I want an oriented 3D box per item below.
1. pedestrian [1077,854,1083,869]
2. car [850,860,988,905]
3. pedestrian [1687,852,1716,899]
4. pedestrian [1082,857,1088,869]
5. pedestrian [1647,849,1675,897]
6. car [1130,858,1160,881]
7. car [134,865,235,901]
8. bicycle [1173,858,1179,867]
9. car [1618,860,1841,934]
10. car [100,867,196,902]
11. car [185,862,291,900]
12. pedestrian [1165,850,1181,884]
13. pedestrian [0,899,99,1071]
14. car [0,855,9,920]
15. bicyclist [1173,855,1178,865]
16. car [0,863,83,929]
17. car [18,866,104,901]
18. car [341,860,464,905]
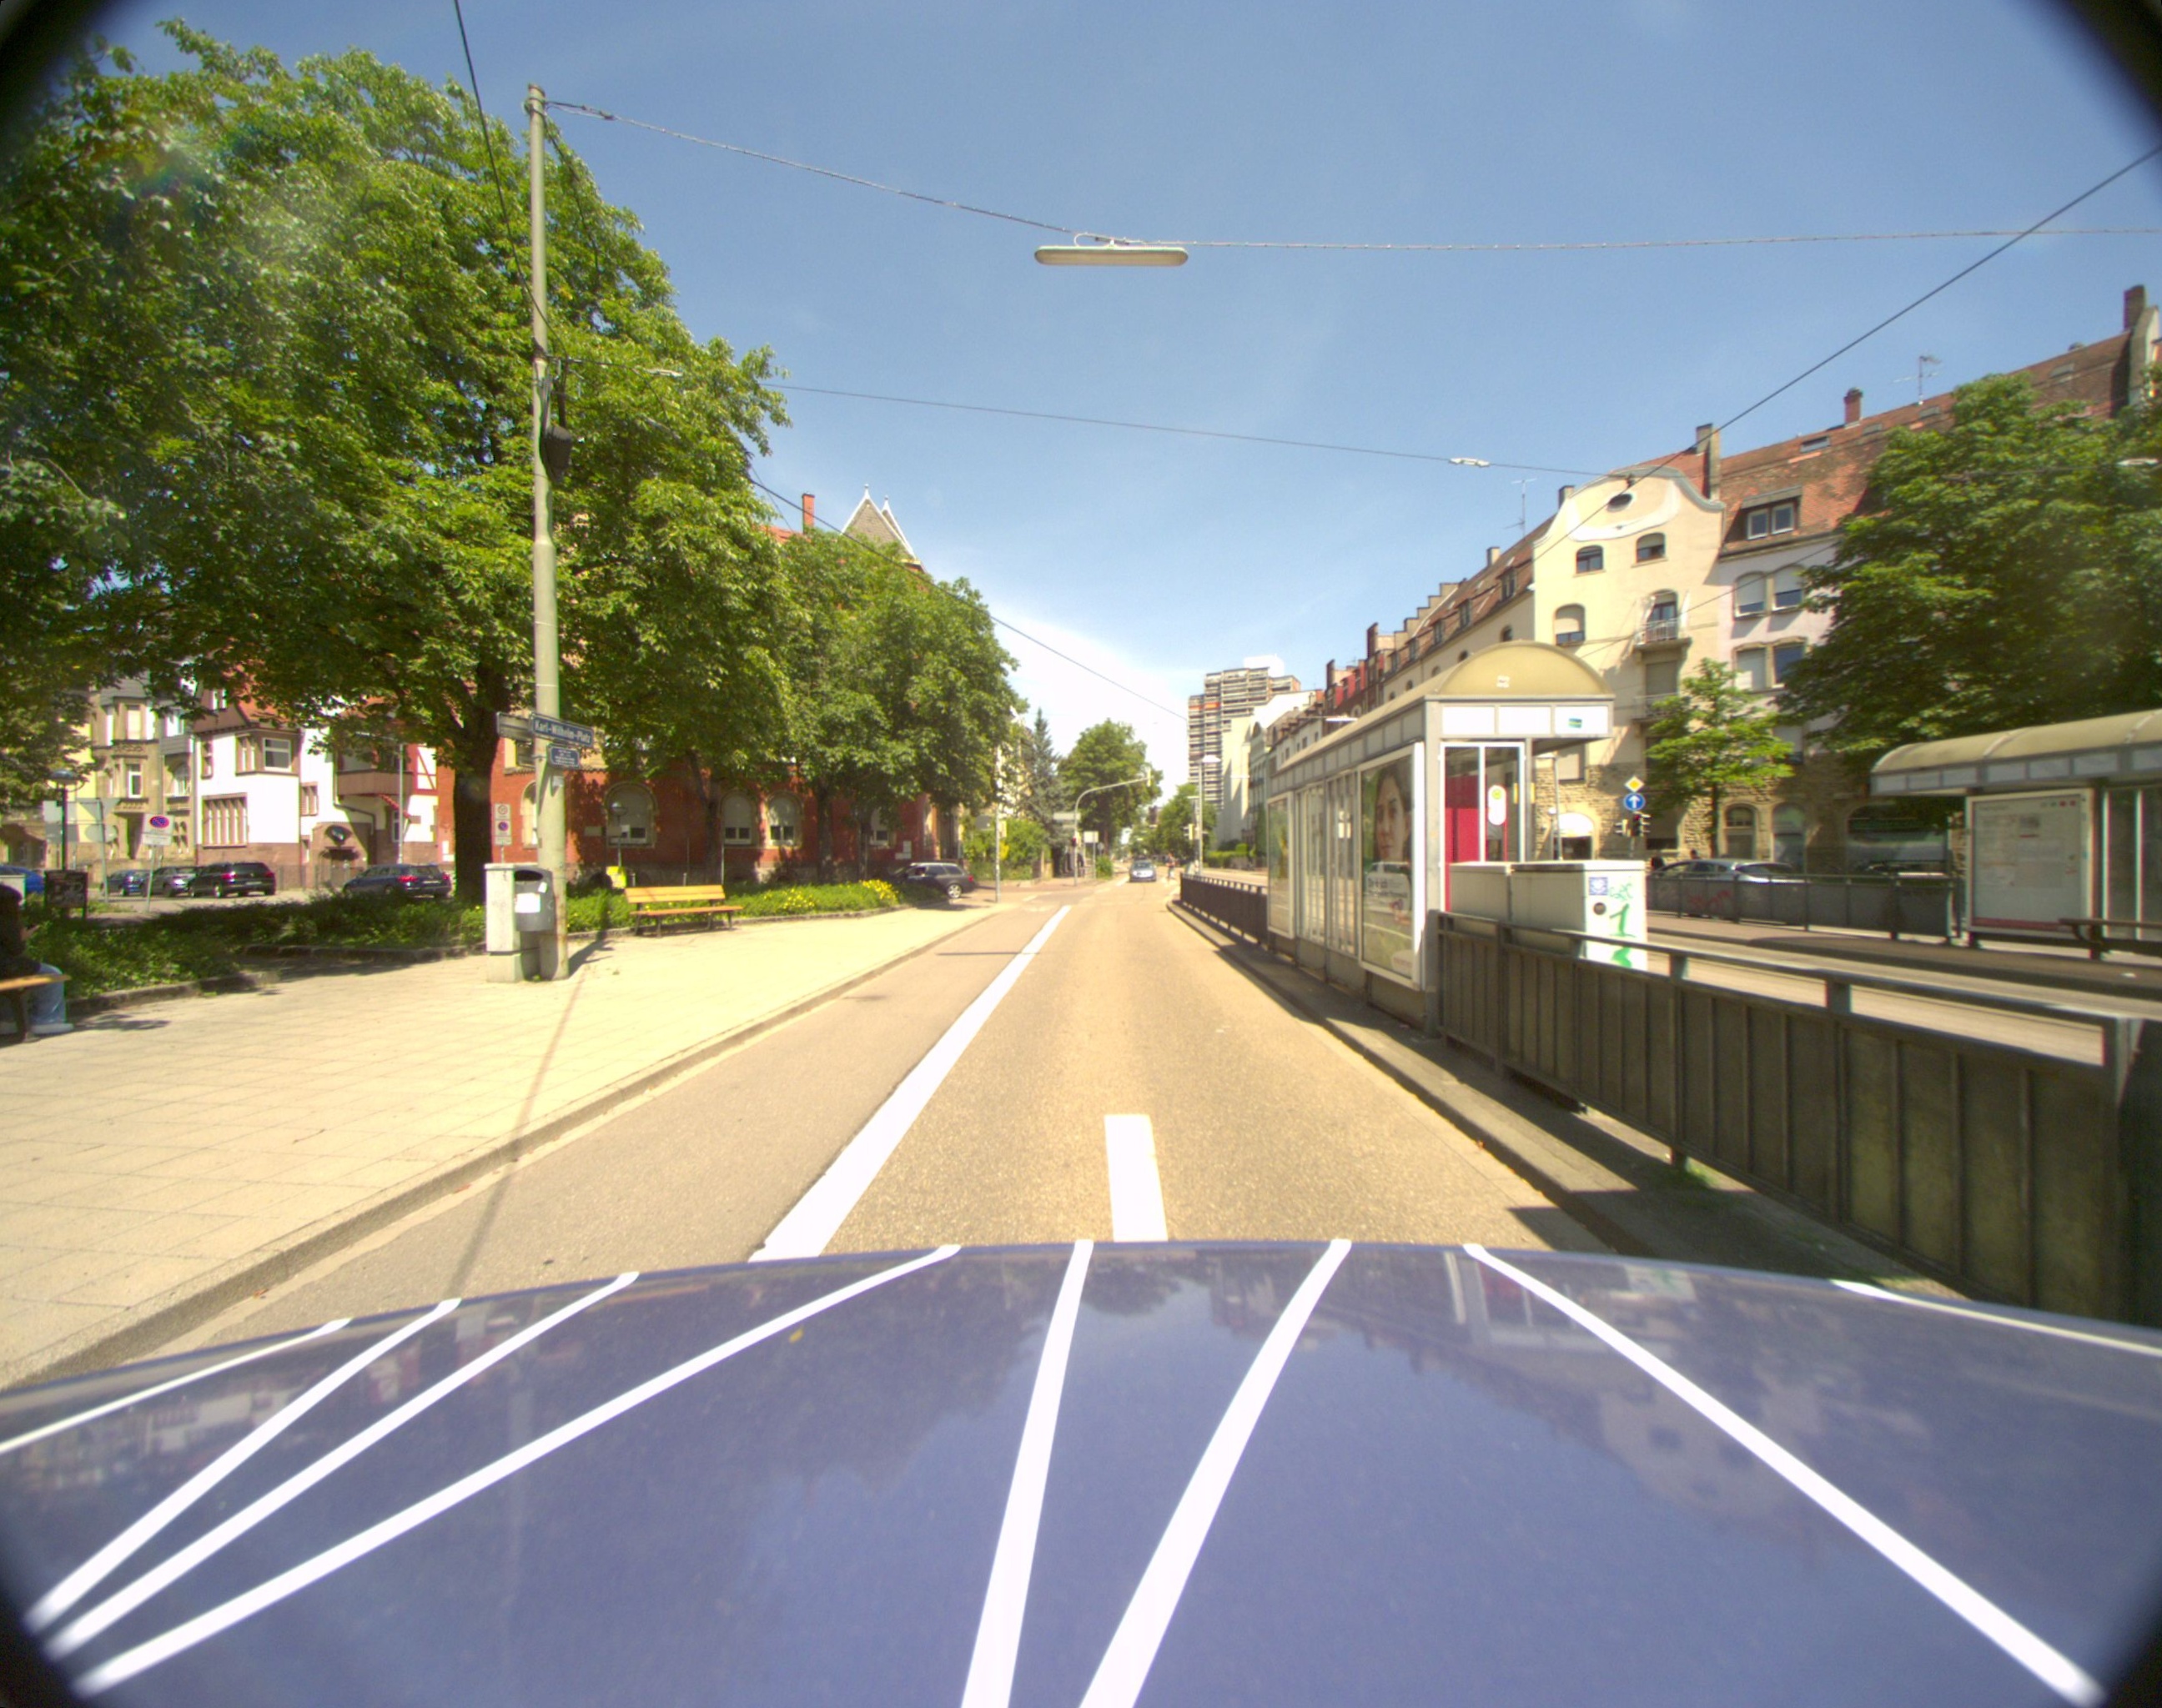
[{"bbox_3d":[-0.092,0.853,85.937,0.702,1.645,0.665,0,0,1],"label":"pedestrian"},{"bbox_3d":[-6.514,1.079,30.663,5.042,1.473,1.934,-3,1,-28],"label":"car"},{"bbox_3d":[20.556,0.703,25.173,0.594,1.542,0.474,0,0,-1],"label":"pedestrian"},{"bbox_3d":[0.582,1.264,109.299,0.686,1.732,0.660,-2,1,3],"label":"pedestrian"},{"bbox_3d":[20.167,0.657,26.433,0.594,1.637,0.474,0,0,1],"label":"pedestrian"},{"bbox_3d":[4.317,1.006,50.994,1.895,1.372,4.001,-2,1,5],"label":"car"},{"bbox_3d":[-44.148,1.429,37.418,4.299,1.608,1.941,-2,1,23],"label":"car"},{"bbox_3d":[16.446,1.541,132.026,0.644,1.503,1.970,-2,1,-2],"label":"bicycle"},{"bbox_3d":[14.839,0.915,17.732,1.812,1.386,4.000,-2,1,1],"label":"car"},{"bbox_3d":[-48.422,1.570,39.440,4.299,1.608,1.941,-2,1,23],"label":"car"},{"bbox_3d":[-39.588,1.274,35.672,4.299,1.608,1.941,-2,1,23],"label":"car"},{"bbox_3d":[4.998,0.701,41.464,0.838,1.813,0.674,0,0,6],"label":"pedestrian"},{"bbox_3d":[-7.742,0.911,5.424,0.566,1.136,0.725,0,1,-16],"label":"pedestrian"},{"bbox_3d":[-37.658,1.198,23.801,1.934,2.178,4.315,-2,1,23],"label":"car"},{"bbox_3d":[16.418,1.044,132.009,0.644,1.864,0.716,-2,1,-2],"label":"bicyclist"},{"bbox_3d":[-32.842,1.299,22.033,1.934,1.869,4.315,-2,1,23],"label":"car"},{"bbox_3d":[-59.177,1.707,44.085,4.299,1.862,1.941,-2,1,23],"label":"car"},{"bbox_3d":[-27.042,1.133,30.293,4.299,1.608,1.941,-2,1,23],"label":"car"}]
